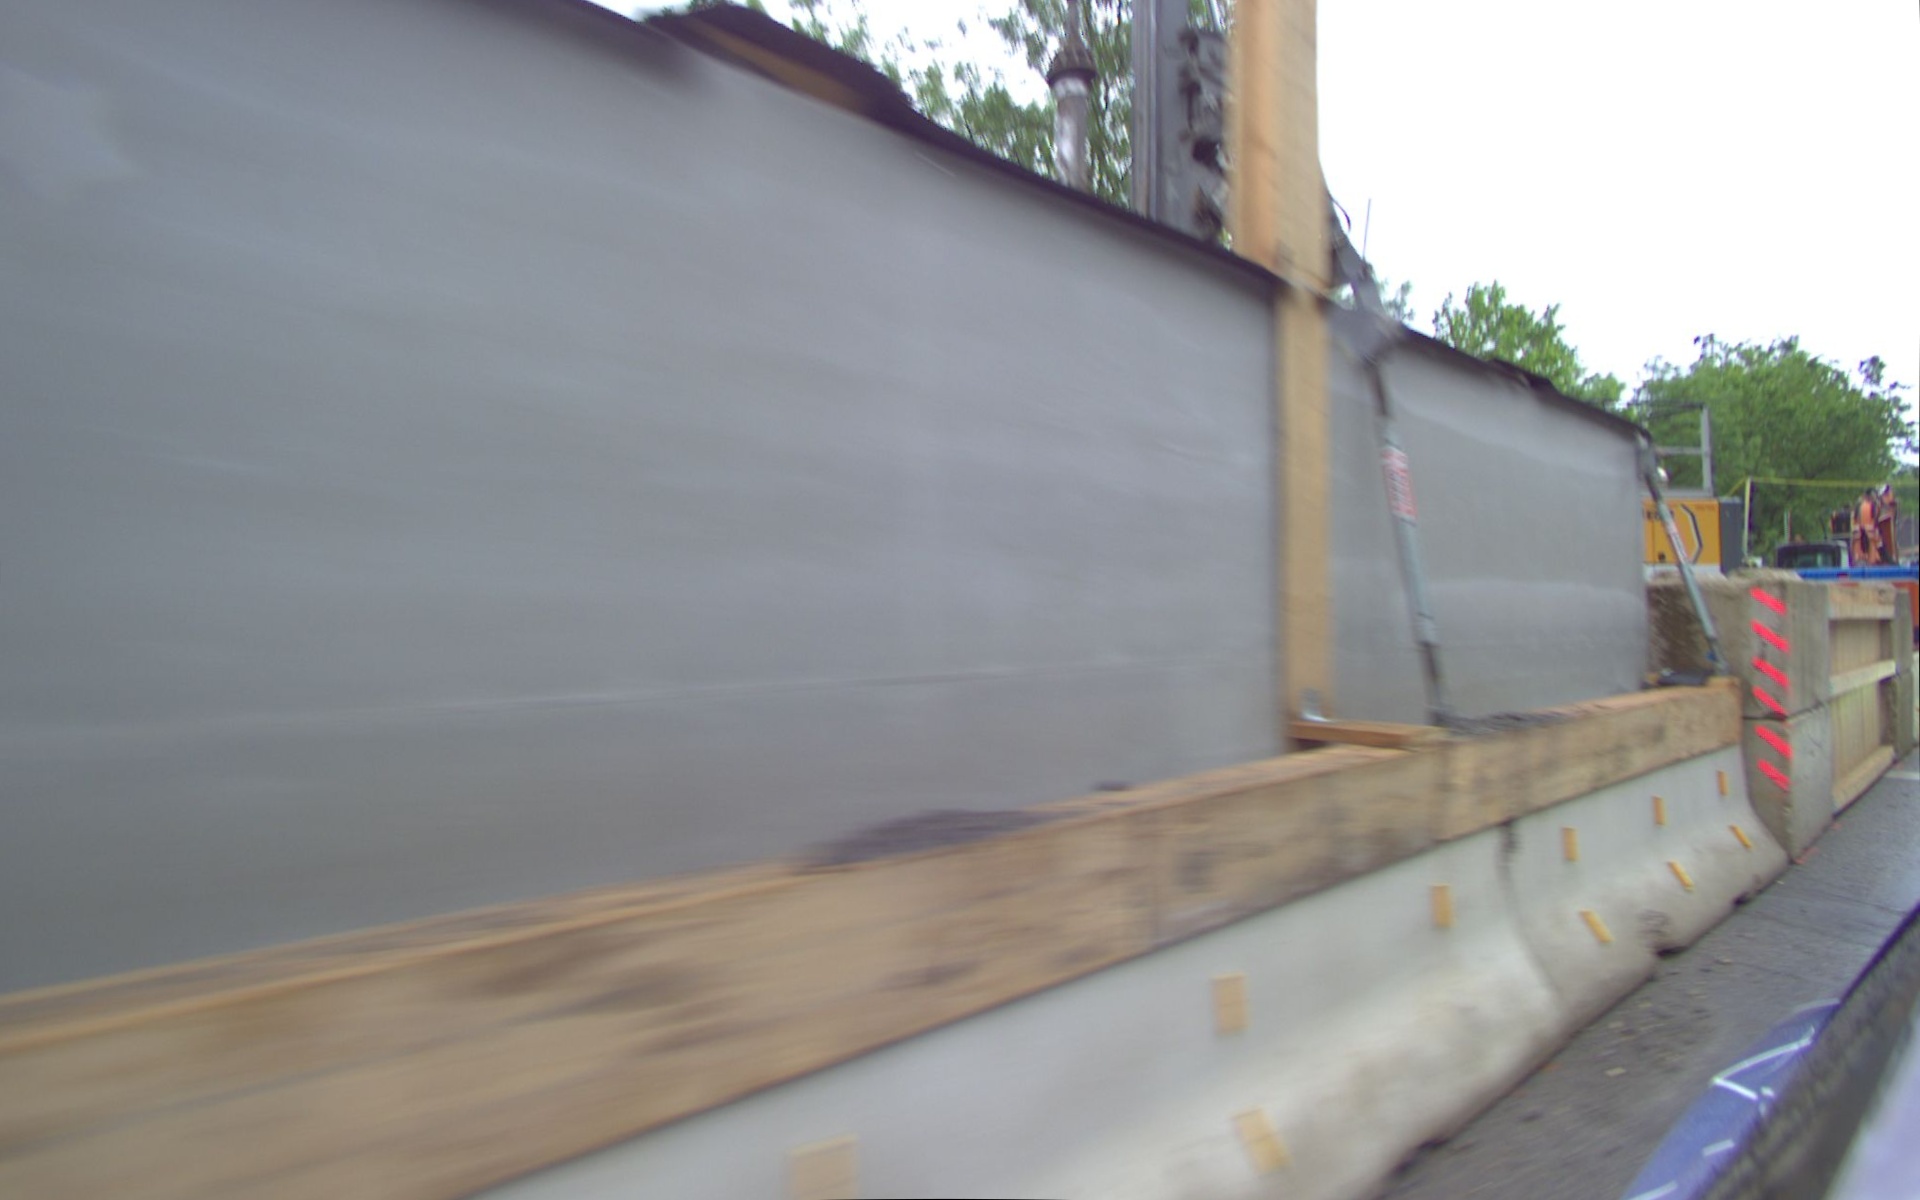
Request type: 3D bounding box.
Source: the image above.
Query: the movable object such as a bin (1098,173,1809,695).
[{"bbox_3d":[5.718,-1.700,12.485,7.013,5.130,3.701,-1,0,-13],"label":"movable object such as a bin"}]

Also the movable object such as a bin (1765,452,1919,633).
[{"bbox_3d":[23.237,-1.322,26.094,4.405,4.224,2.885,1,-1,-38],"label":"movable object such as a bin"}]

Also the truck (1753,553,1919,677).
[{"bbox_3d":[17.045,0.231,19.214,3.247,2.134,2.555,-1,0,-41],"label":"truck"}]
